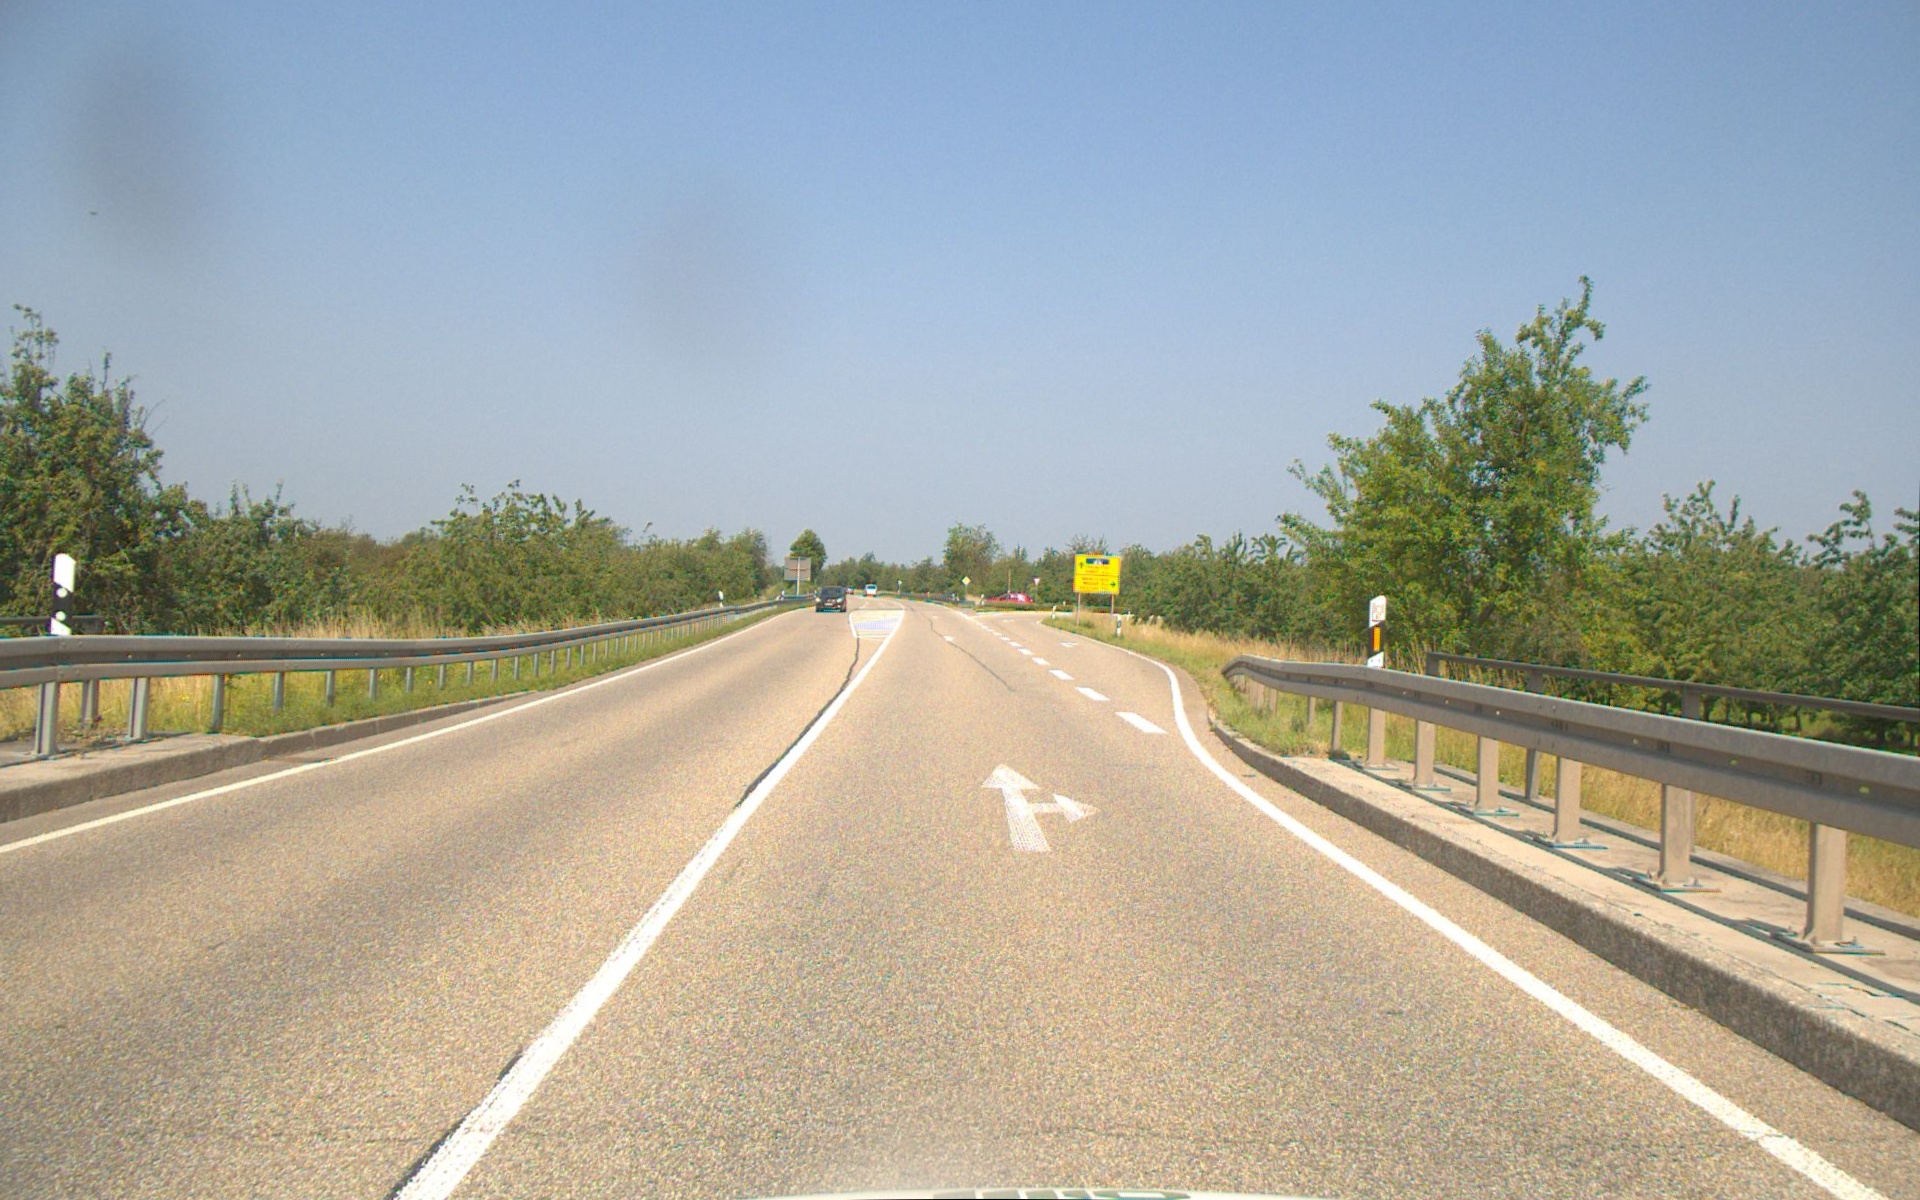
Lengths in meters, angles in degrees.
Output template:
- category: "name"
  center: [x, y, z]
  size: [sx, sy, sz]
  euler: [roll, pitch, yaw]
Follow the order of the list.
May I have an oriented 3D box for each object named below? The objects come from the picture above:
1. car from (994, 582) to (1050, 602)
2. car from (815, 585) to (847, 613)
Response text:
- category: "car"
  center: [4.934, -0.666, 132.185]
  size: [4.389, 1.474, 1.821]
  euler: [1, 0, -1]
- category: "car"
  center: [-8.173, -0.080, 105.426]
  size: [1.767, 1.666, 4.808]
  euler: [1, 0, -2]
